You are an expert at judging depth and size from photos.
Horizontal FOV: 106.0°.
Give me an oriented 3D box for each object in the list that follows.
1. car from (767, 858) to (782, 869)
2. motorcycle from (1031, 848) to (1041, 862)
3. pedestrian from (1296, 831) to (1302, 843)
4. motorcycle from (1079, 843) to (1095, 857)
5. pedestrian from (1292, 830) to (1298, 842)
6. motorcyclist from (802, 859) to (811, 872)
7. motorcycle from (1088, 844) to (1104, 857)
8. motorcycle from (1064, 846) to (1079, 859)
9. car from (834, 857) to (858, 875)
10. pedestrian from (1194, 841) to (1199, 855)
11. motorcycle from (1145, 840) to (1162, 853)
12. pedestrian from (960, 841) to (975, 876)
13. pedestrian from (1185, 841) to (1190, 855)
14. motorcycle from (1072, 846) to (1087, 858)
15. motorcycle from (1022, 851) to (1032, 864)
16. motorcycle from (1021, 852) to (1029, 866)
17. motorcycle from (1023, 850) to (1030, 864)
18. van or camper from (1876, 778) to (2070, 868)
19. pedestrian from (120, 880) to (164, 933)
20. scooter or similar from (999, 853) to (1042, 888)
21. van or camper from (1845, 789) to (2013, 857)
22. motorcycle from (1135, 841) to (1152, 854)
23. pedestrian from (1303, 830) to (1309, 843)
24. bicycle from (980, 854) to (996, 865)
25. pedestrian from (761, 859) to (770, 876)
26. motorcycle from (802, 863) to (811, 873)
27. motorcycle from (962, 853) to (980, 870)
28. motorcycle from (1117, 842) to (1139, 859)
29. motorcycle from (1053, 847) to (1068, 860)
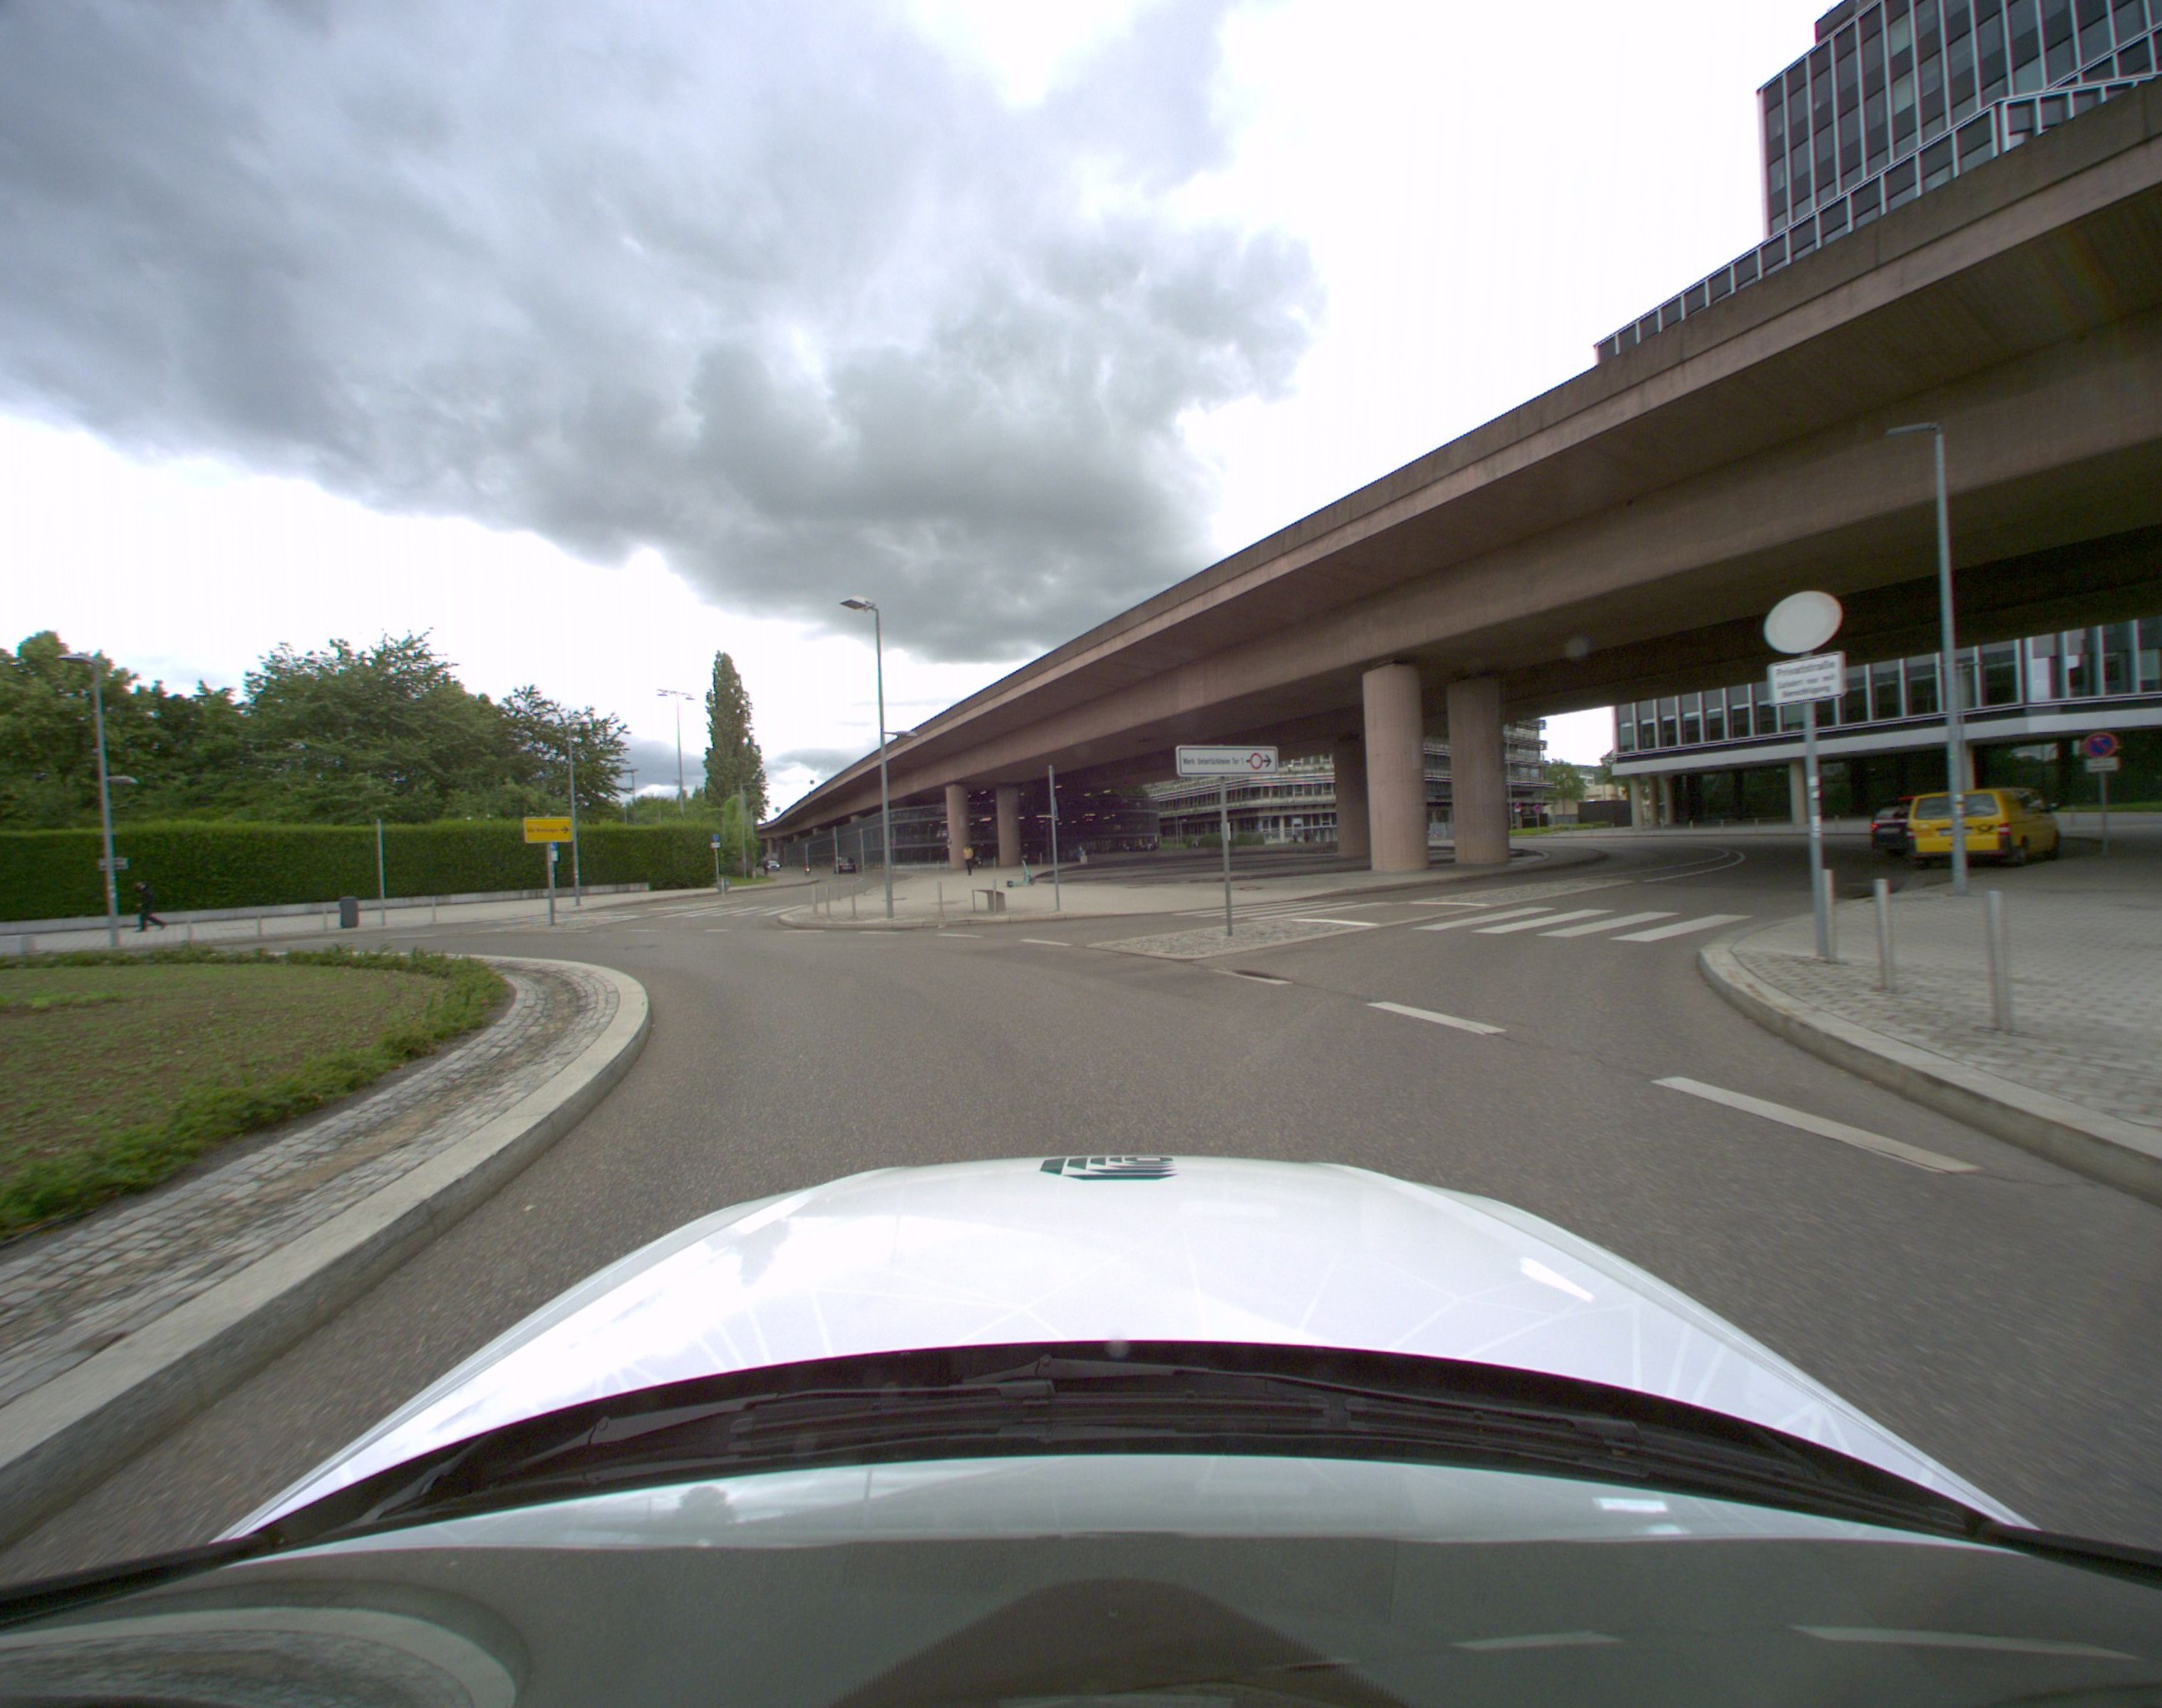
[{"bbox_3d":[-51.381,1.622,136.549,1.875,1.683,4.367,-4,2,-27],"label":"car"},{"bbox_3d":[-4.316,0.079,78.546,0.828,1.220,2.077,-3,2,-3],"label":"motorcycle"},{"bbox_3d":[27.109,-2.146,101.194,0.490,1.481,0.548,-2,2,34],"label":"pedestrian"},{"bbox_3d":[0.573,-0.383,80.702,0.675,1.285,2.062,-4,2,-24],"label":"motorcycle"},{"bbox_3d":[27.221,-2.241,103.731,0.490,1.481,0.548,-2,2,34],"label":"pedestrian"},{"bbox_3d":[-30.140,1.245,89.297,0.765,1.419,0.863,-4,2,-24],"label":"motorcyclist"},{"bbox_3d":[1.478,-0.353,81.135,0.675,1.220,2.062,-4,2,-24],"label":"motorcycle"},{"bbox_3d":[-0.956,-0.164,79.959,0.675,1.220,2.062,-4,2,-24],"label":"motorcycle"},{"bbox_3d":[-24.731,1.261,85.691,1.849,1.711,3.675,-4,2,-24],"label":"car"},{"bbox_3d":[16.556,-0.860,116.860,0.528,2.013,0.570,-2,0,-17],"label":"pedestrian"},{"bbox_3d":[7.667,-0.789,85.865,0.675,1.220,2.345,-4,2,-24],"label":"motorcycle"},{"bbox_3d":[-6.747,0.260,48.296,0.782,2.013,1.037,-3,2,-8],"label":"pedestrian"},{"bbox_3d":[15.358,-0.846,117.301,0.528,2.013,0.570,-2,0,-17],"label":"pedestrian"},{"bbox_3d":[-0.177,-0.203,80.356,0.675,1.220,2.062,-4,2,-24],"label":"motorcycle"},{"bbox_3d":[-4.956,0.342,74.941,0.517,1.171,1.154,-3,-1,12],"label":"motorcycle"},{"bbox_3d":[-5.319,0.465,77.532,0.518,1.220,1.152,-3,2,6],"label":"motorcycle"},{"bbox_3d":[-5.268,0.275,78.468,0.520,1.220,1.148,-3,2,-7],"label":"motorcycle"},{"bbox_3d":[23.217,-0.812,21.198,4.518,1.999,2.340,-4,0,-29],"label":"van or camper"},{"bbox_3d":[-33.939,1.884,29.440,0.871,1.807,0.783,-4,2,-43],"label":"pedestrian"},{"bbox_3d":[-2.461,0.657,33.129,1.644,1.295,0.517,-3,2,-10],"label":"scooter or similar"},{"bbox_3d":[27.044,-1.003,25.962,4.908,1.892,2.137,-4,2,-24],"label":"van or camper"},{"bbox_3d":[6.542,-0.696,84.787,0.675,1.275,2.345,-4,2,-24],"label":"motorcycle"},{"bbox_3d":[27.884,-2.179,101.004,0.490,1.481,0.548,-2,2,34],"label":"pedestrian"},{"bbox_3d":[-9.184,0.570,80.082,1.467,0.976,0.452,-3,1,1],"label":"bicycle"},{"bbox_3d":[-33.410,1.420,86.268,0.807,1.780,0.913,-3,2,-22],"label":"pedestrian"},{"bbox_3d":[-30.154,1.516,89.371,0.749,1.022,1.941,-4,2,-23],"label":"motorcycle"},{"bbox_3d":[-9.994,0.657,74.040,0.647,1.454,1.742,-4,2,-41],"label":"motorcycle"},{"bbox_3d":[3.667,-0.285,63.308,0.541,1.264,1.953,-1,2,43],"label":"motorcycle"},{"bbox_3d":[-1.989,-0.079,79.783,0.675,1.220,2.062,-4,2,-24],"label":"motorcycle"}]
